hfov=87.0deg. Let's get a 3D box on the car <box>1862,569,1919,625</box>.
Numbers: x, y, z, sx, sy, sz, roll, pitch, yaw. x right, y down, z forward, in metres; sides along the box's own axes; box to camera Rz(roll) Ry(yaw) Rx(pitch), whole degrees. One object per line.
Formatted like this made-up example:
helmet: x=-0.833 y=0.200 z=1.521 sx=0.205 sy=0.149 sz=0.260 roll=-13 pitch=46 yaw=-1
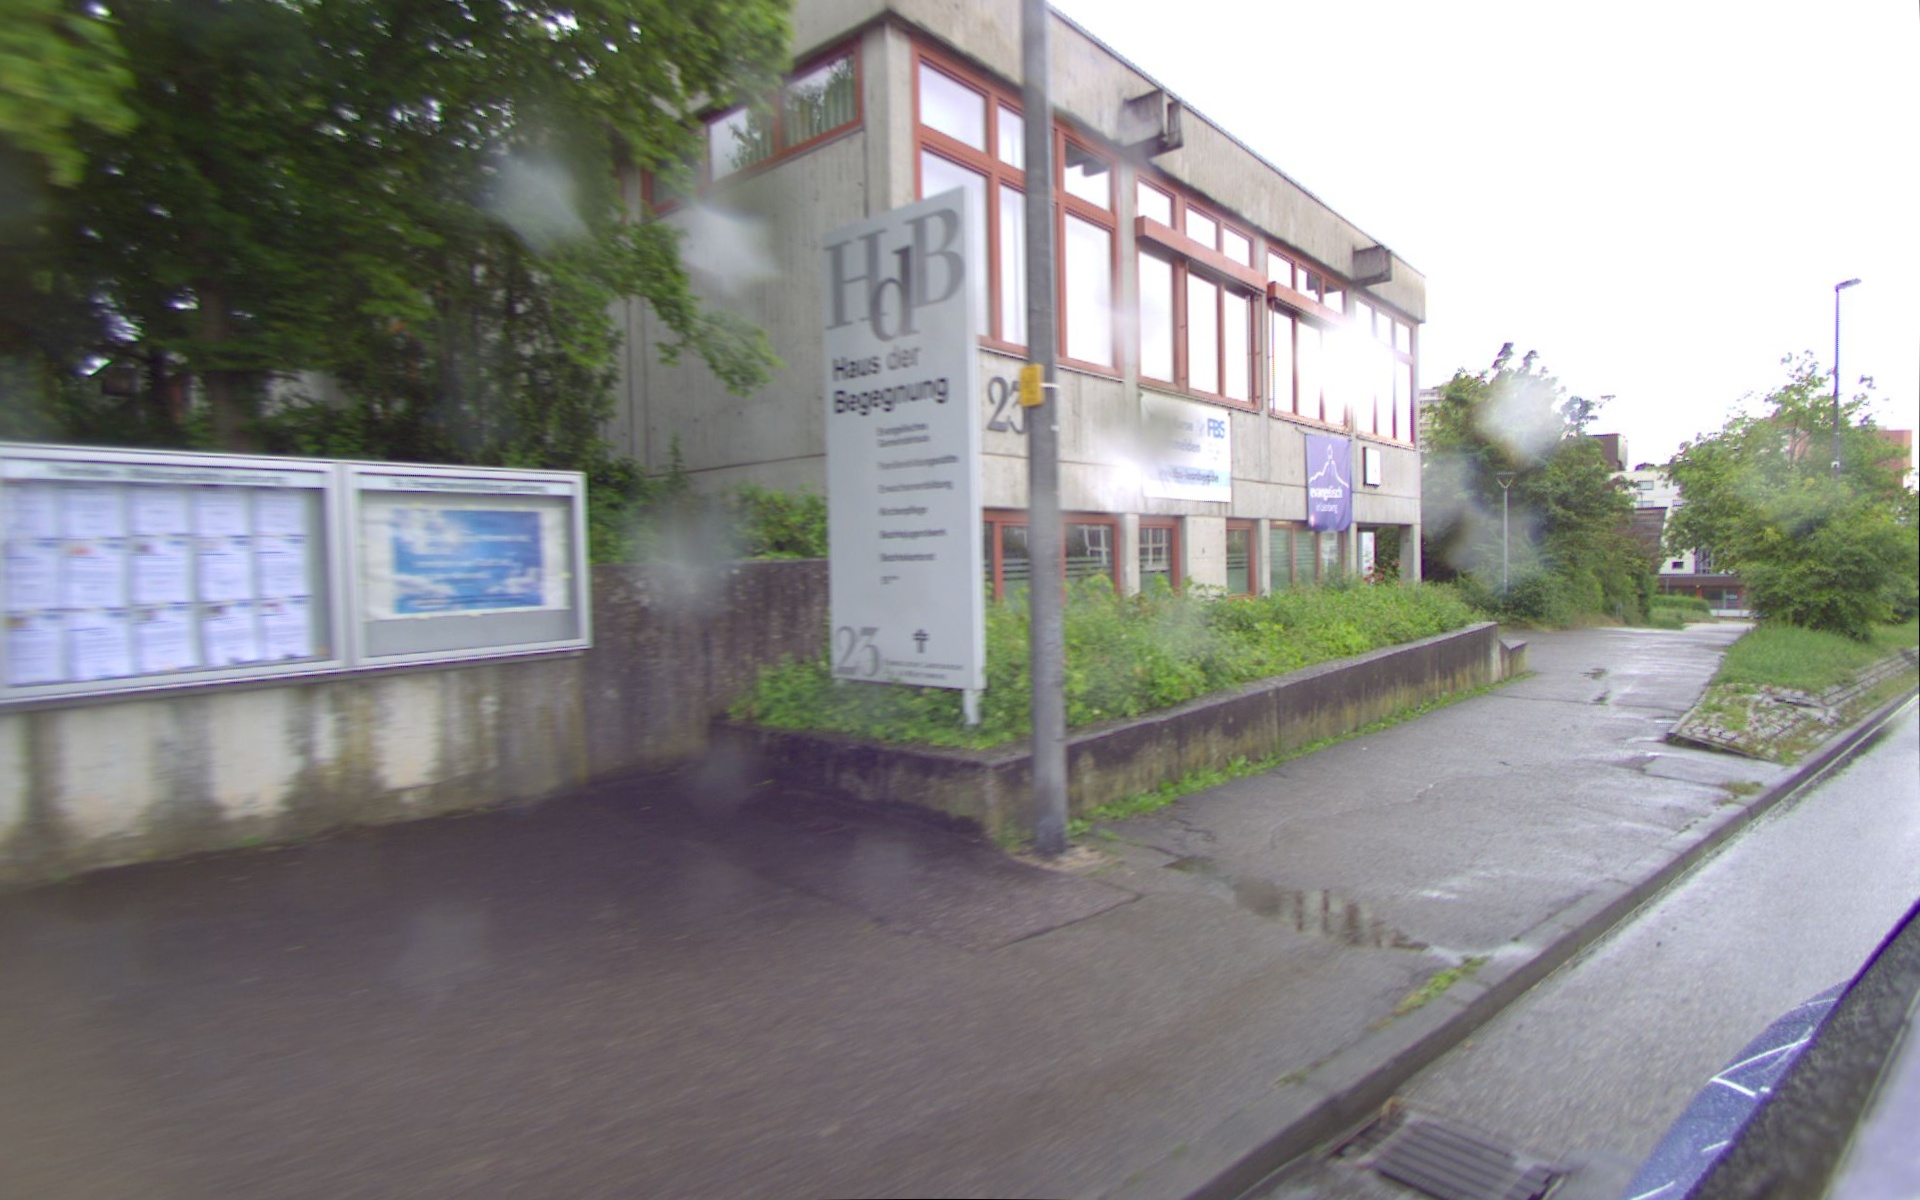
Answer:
car: x=33.167 y=-0.095 z=35.316 sx=3.898 sy=1.843 sz=2.047 roll=0 pitch=0 yaw=-41
